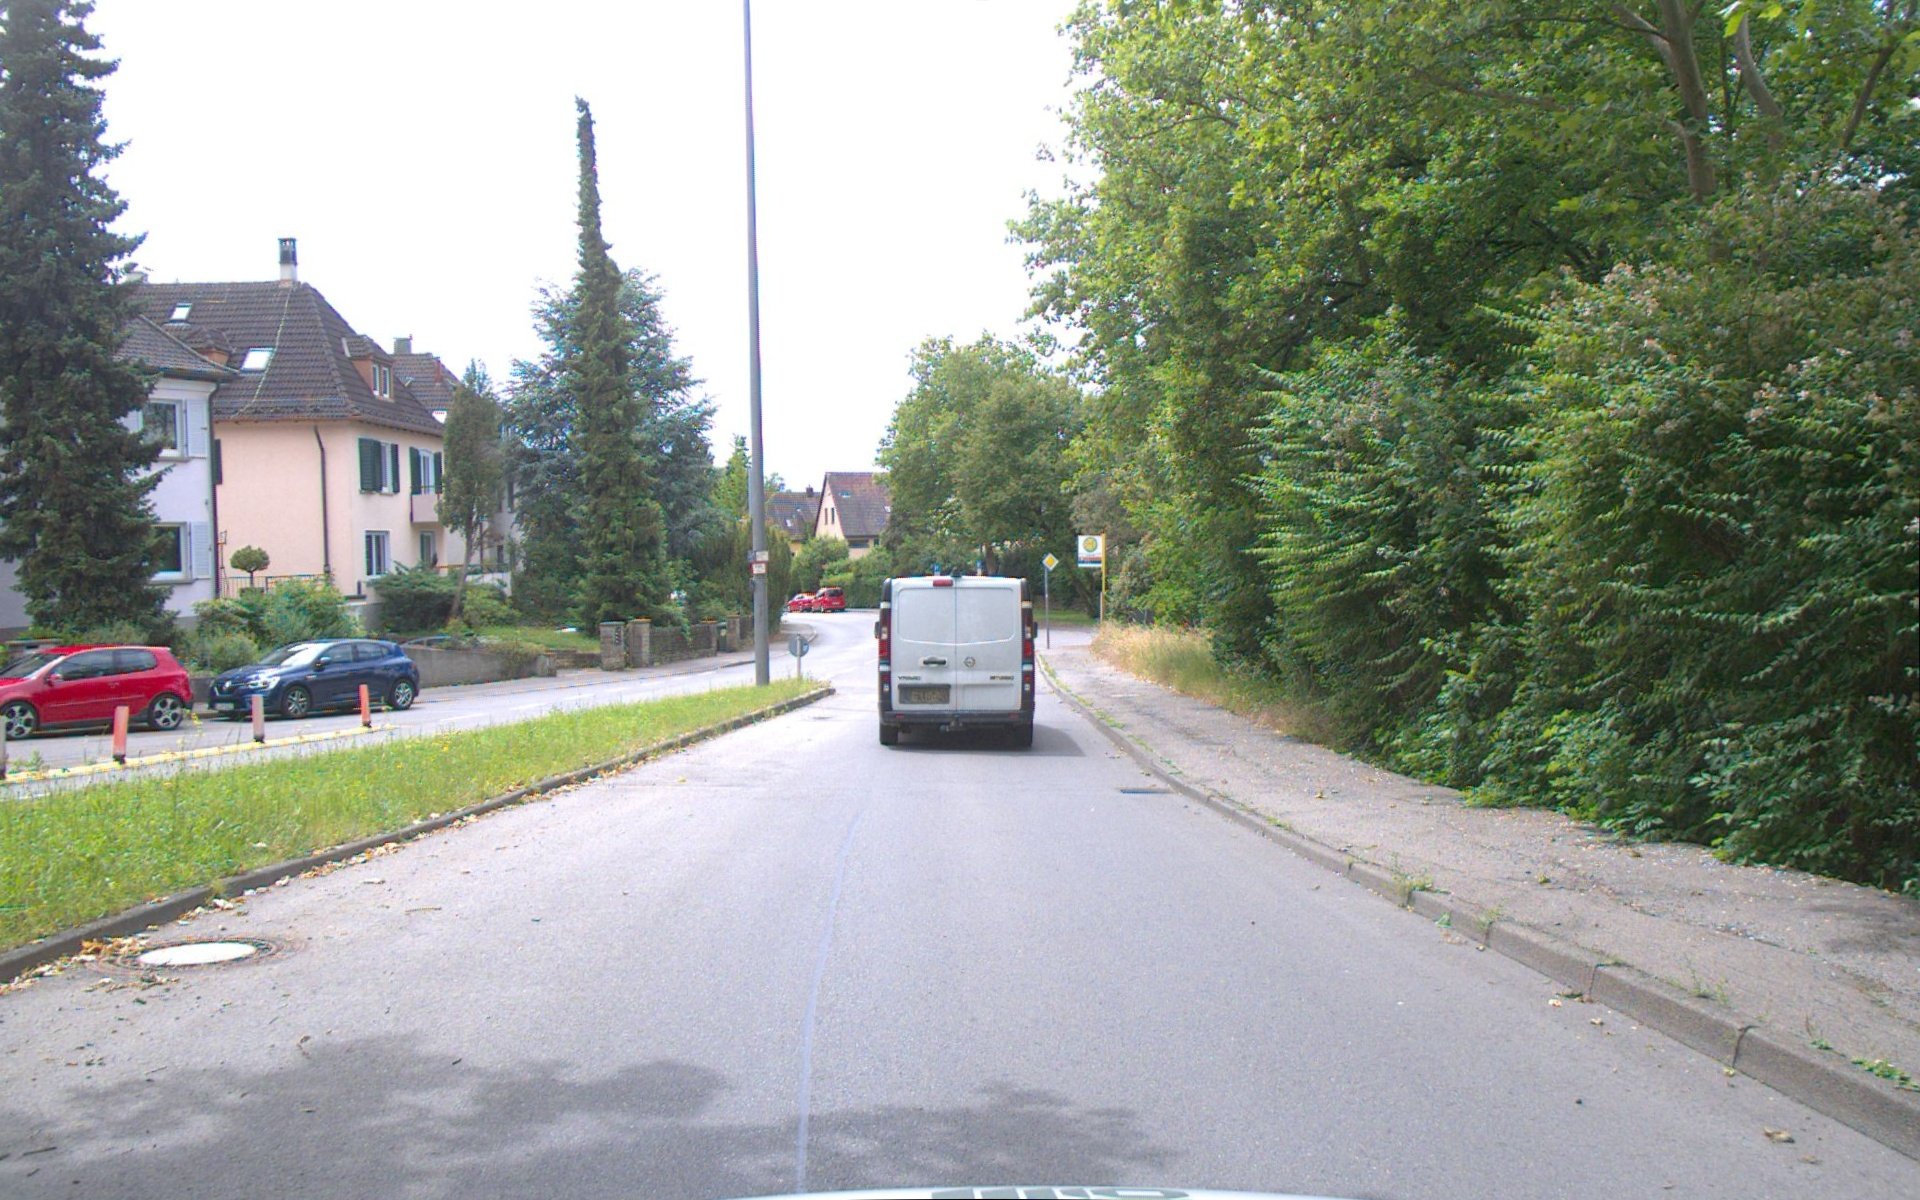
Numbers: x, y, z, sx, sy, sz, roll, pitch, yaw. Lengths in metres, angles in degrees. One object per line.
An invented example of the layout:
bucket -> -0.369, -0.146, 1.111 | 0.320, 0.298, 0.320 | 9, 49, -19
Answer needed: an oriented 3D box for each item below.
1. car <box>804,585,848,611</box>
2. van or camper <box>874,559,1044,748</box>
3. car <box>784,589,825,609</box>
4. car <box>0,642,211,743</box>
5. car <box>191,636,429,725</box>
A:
car -> -9.883, -0.152, 121.645 | 1.737, 1.828, 4.914 | -1, 1, -23
van or camper -> 0.028, 0.539, 20.903 | 1.884, 2.048, 4.831 | 0, 2, 1
car -> -11.896, -0.060, 126.559 | 1.692, 1.493, 4.231 | -2, 1, -27
car -> -15.159, 1.525, 28.065 | 1.695, 1.499, 4.268 | -1, 0, 31
car -> -12.592, 1.512, 32.311 | 1.693, 1.499, 4.310 | -1, 0, 26
